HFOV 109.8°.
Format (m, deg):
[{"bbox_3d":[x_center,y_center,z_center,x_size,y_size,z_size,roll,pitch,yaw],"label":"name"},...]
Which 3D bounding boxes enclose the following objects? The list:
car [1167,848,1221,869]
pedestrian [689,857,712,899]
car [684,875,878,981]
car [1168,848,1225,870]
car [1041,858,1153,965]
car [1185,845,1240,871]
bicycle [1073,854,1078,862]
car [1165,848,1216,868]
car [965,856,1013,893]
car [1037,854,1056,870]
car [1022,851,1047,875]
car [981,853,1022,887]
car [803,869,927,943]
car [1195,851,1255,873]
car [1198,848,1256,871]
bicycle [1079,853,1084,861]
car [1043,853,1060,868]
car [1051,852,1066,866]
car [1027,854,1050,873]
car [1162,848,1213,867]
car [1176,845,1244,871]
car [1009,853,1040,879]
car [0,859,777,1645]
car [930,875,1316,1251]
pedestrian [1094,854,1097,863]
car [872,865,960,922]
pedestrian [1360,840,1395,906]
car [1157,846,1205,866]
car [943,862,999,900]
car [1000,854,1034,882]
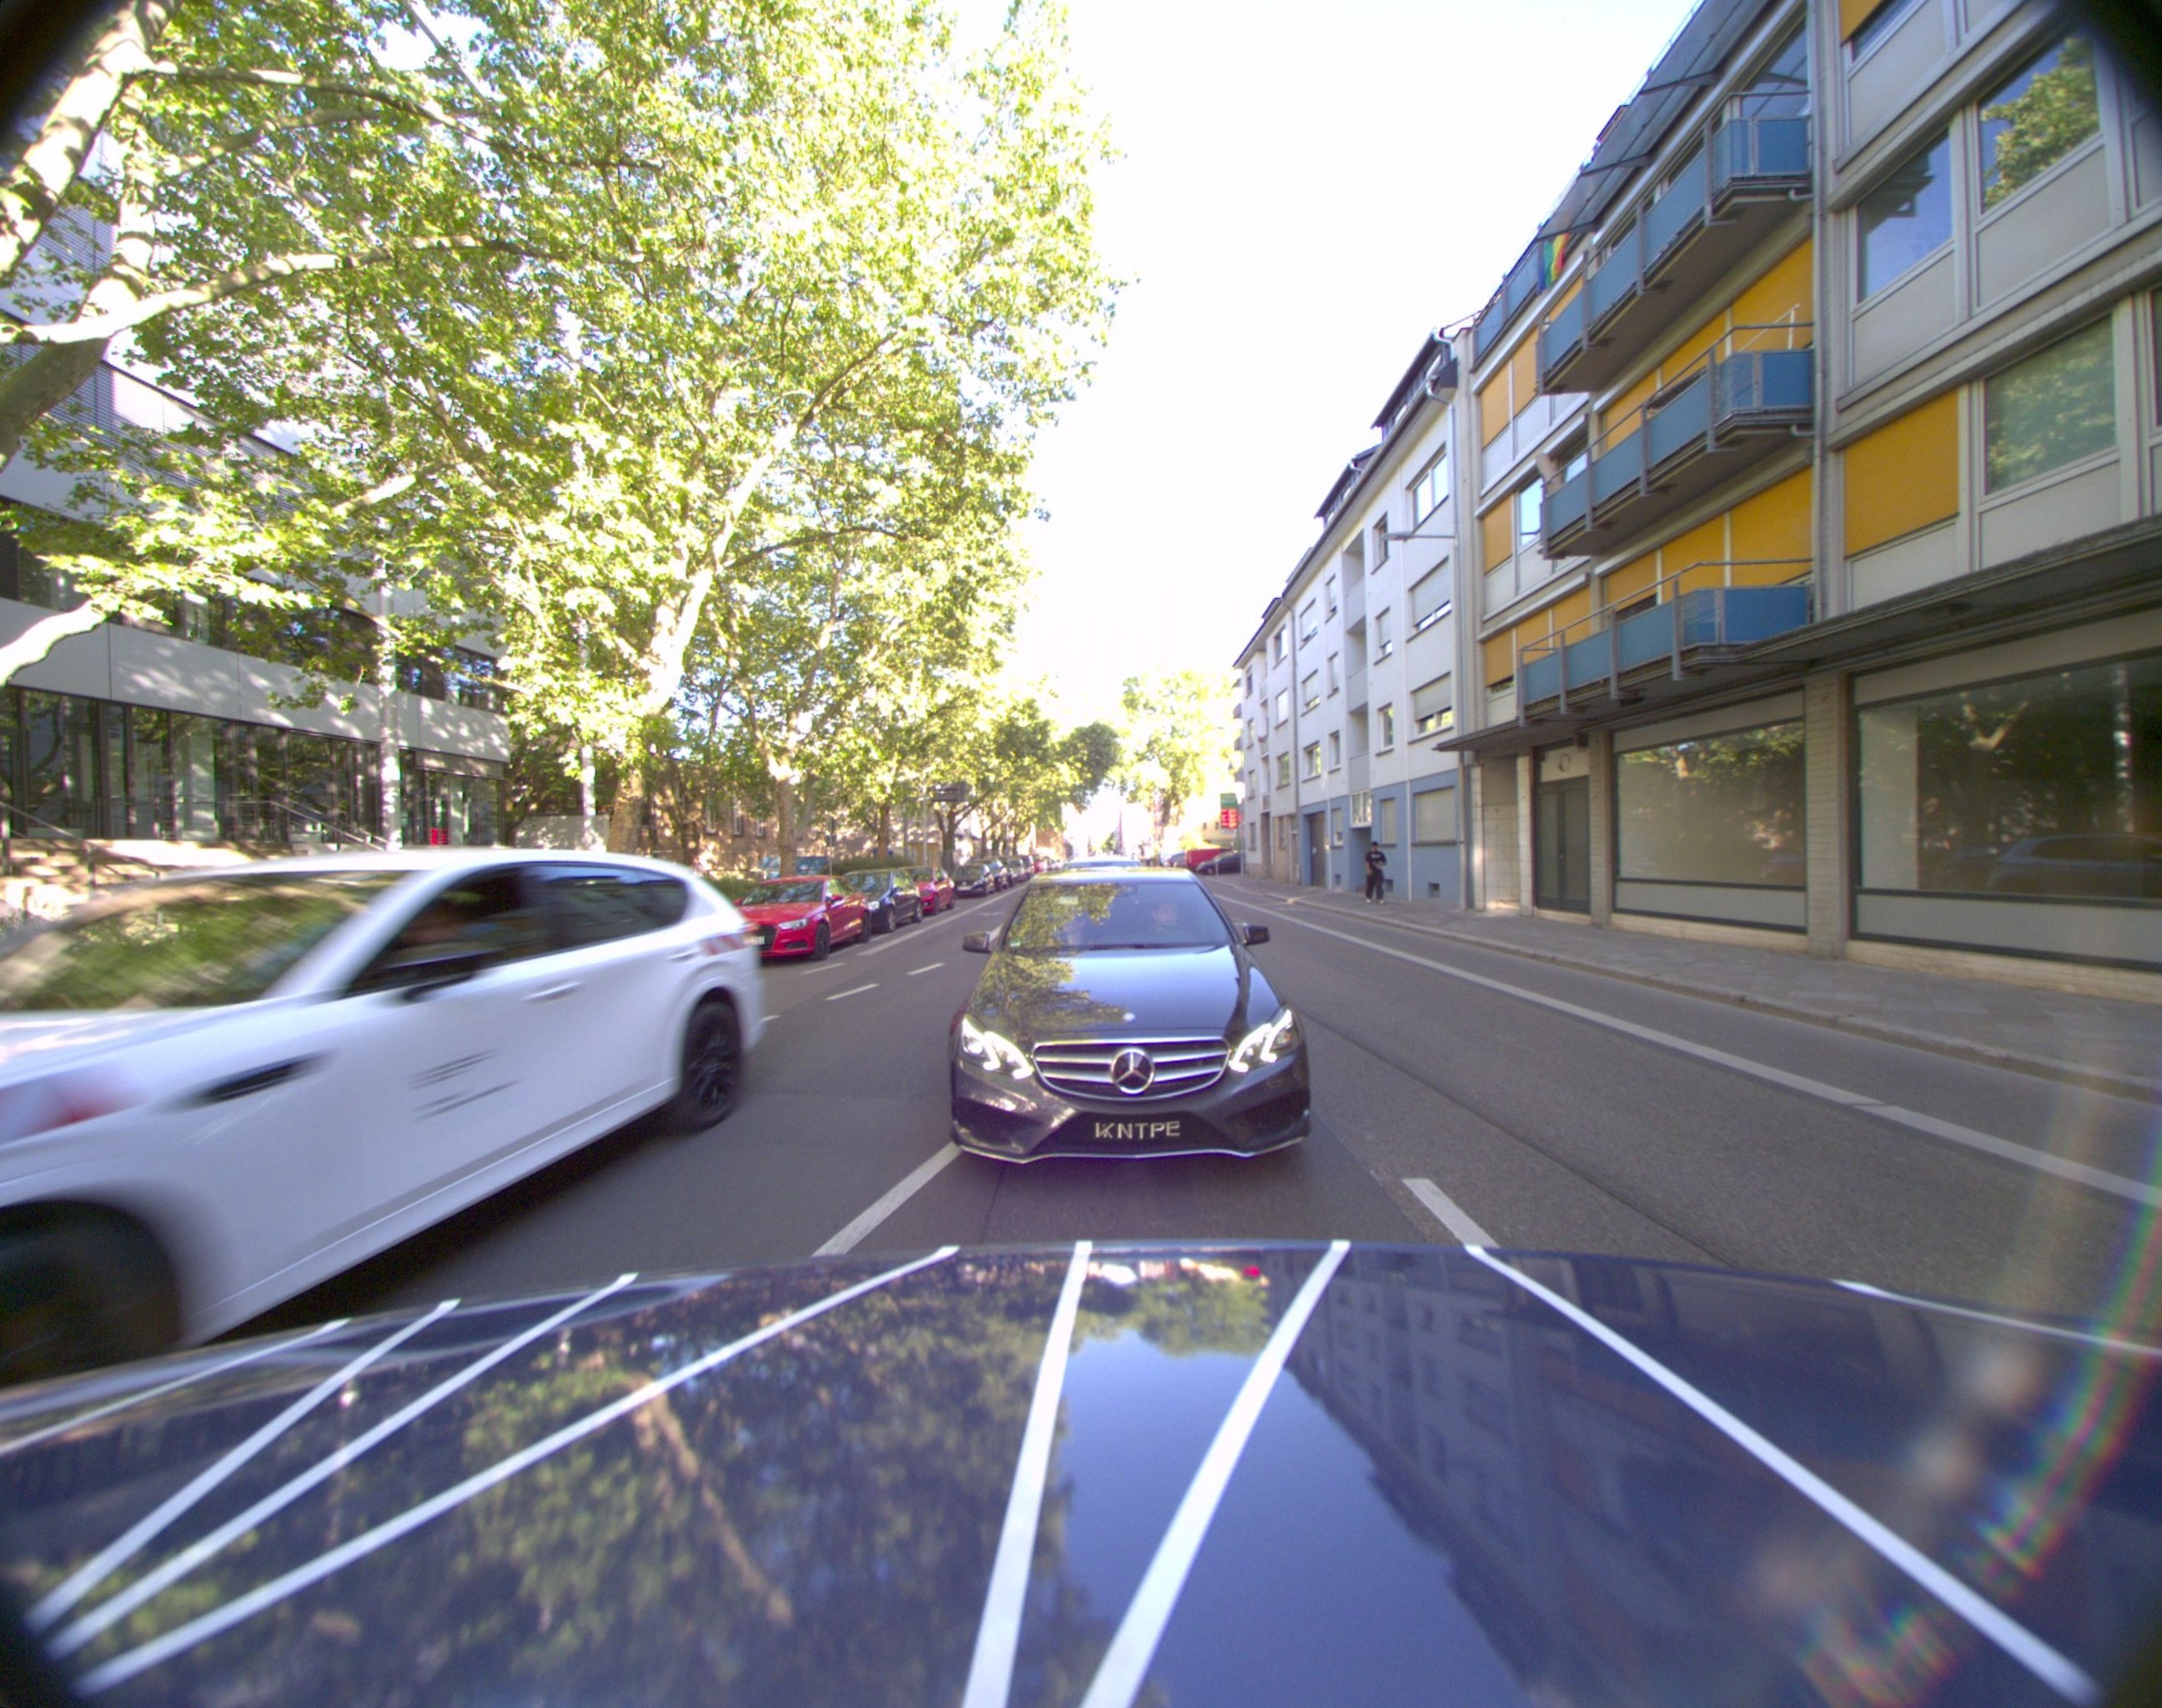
[{"bbox_3d":[11.277,0.405,76.209,5.054,1.926,2.161,-2,0,1],"label":"car"},{"bbox_3d":[-15.481,0.970,30.902,0.525,1.660,0.661,-2,1,2],"label":"pedestrian"},{"bbox_3d":[-5.112,1.182,13.585,1.755,1.400,4.000,-3,0,1],"label":"car"},{"bbox_3d":[11.105,0.444,73.509,5.143,1.926,2.187,-2,0,1],"label":"car"},{"bbox_3d":[0.272,0.885,13.597,1.667,1.563,4.000,-1,0,1],"label":"car"},{"bbox_3d":[10.336,0.300,60.068,3.997,1.926,1.867,-2,0,1],"label":"car"},{"bbox_3d":[-0.722,0.587,106.937,0.650,1.053,1.595,-2,0,1],"label":"bicycle"},{"bbox_3d":[11.292,0.374,78.707,4.991,1.926,2.083,-2,0,1],"label":"car"},{"bbox_3d":[-4.560,0.978,38.252,1.755,1.644,4.174,-3,0,1],"label":"car"},{"bbox_3d":[-3.770,0.876,83.503,1.755,1.652,4.447,-3,0,1],"label":"car"},{"bbox_3d":[-3.992,0.733,66.378,1.755,1.941,4.447,-3,0,1],"label":"car"},{"bbox_3d":[-4.550,0.874,44.051,1.755,1.810,4.447,-3,0,1],"label":"car"},{"bbox_3d":[-5.083,1.174,18.431,1.755,1.424,3.909,-3,0,1],"label":"car"},{"bbox_3d":[10.361,0.562,54.768,3.997,1.412,1.743,-2,0,1],"label":"car"},{"bbox_3d":[10.917,0.391,56.978,3.997,1.552,1.743,-2,0,1],"label":"car"},{"bbox_3d":[0.086,0.462,106.900,0.574,1.053,1.595,-2,0,1],"label":"bicycle"},{"bbox_3d":[-3.640,0.779,92.993,1.755,1.652,4.447,-3,0,1],"label":"car"},{"bbox_3d":[-3.008,0.657,103.191,1.755,1.652,4.447,-3,0,1],"label":"car"},{"bbox_3d":[-3.997,0.908,72.163,1.755,1.652,4.447,-3,0,1],"label":"car"},{"bbox_3d":[11.328,0.349,81.172,5.042,1.926,2.315,-2,0,1],"label":"car"},{"bbox_3d":[10.641,0.294,63.093,5.223,1.969,2.257,-2,0,1],"label":"car"},{"bbox_3d":[-4.098,0.826,55.744,1.755,1.753,4.447,-3,0,1],"label":"car"},{"bbox_3d":[-3.280,0.940,3.004,1.947,1.698,4.485,-3,0,5],"label":"car"},{"bbox_3d":[0.212,0.982,5.345,1.667,1.499,4.000,-1,0,1],"label":"car"},{"bbox_3d":[3.222,1.092,172.105,0.616,2.002,0.691,-2,1,1],"label":"pedestrian"},{"bbox_3d":[-5.032,1.148,23.644,1.755,1.459,3.909,-3,0,1],"label":"car"},{"bbox_3d":[8.182,0.512,20.974,0.663,1.761,0.793,-2,1,5],"label":"pedestrian"},{"bbox_3d":[11.196,0.203,85.508,5.143,2.135,2.187,-2,0,1],"label":"car"},{"bbox_3d":[-4.747,1.120,33.282,1.755,1.424,3.909,-3,0,1],"label":"car"},{"bbox_3d":[-4.268,0.883,50.933,1.755,1.718,4.447,-3,0,1],"label":"car"}]
